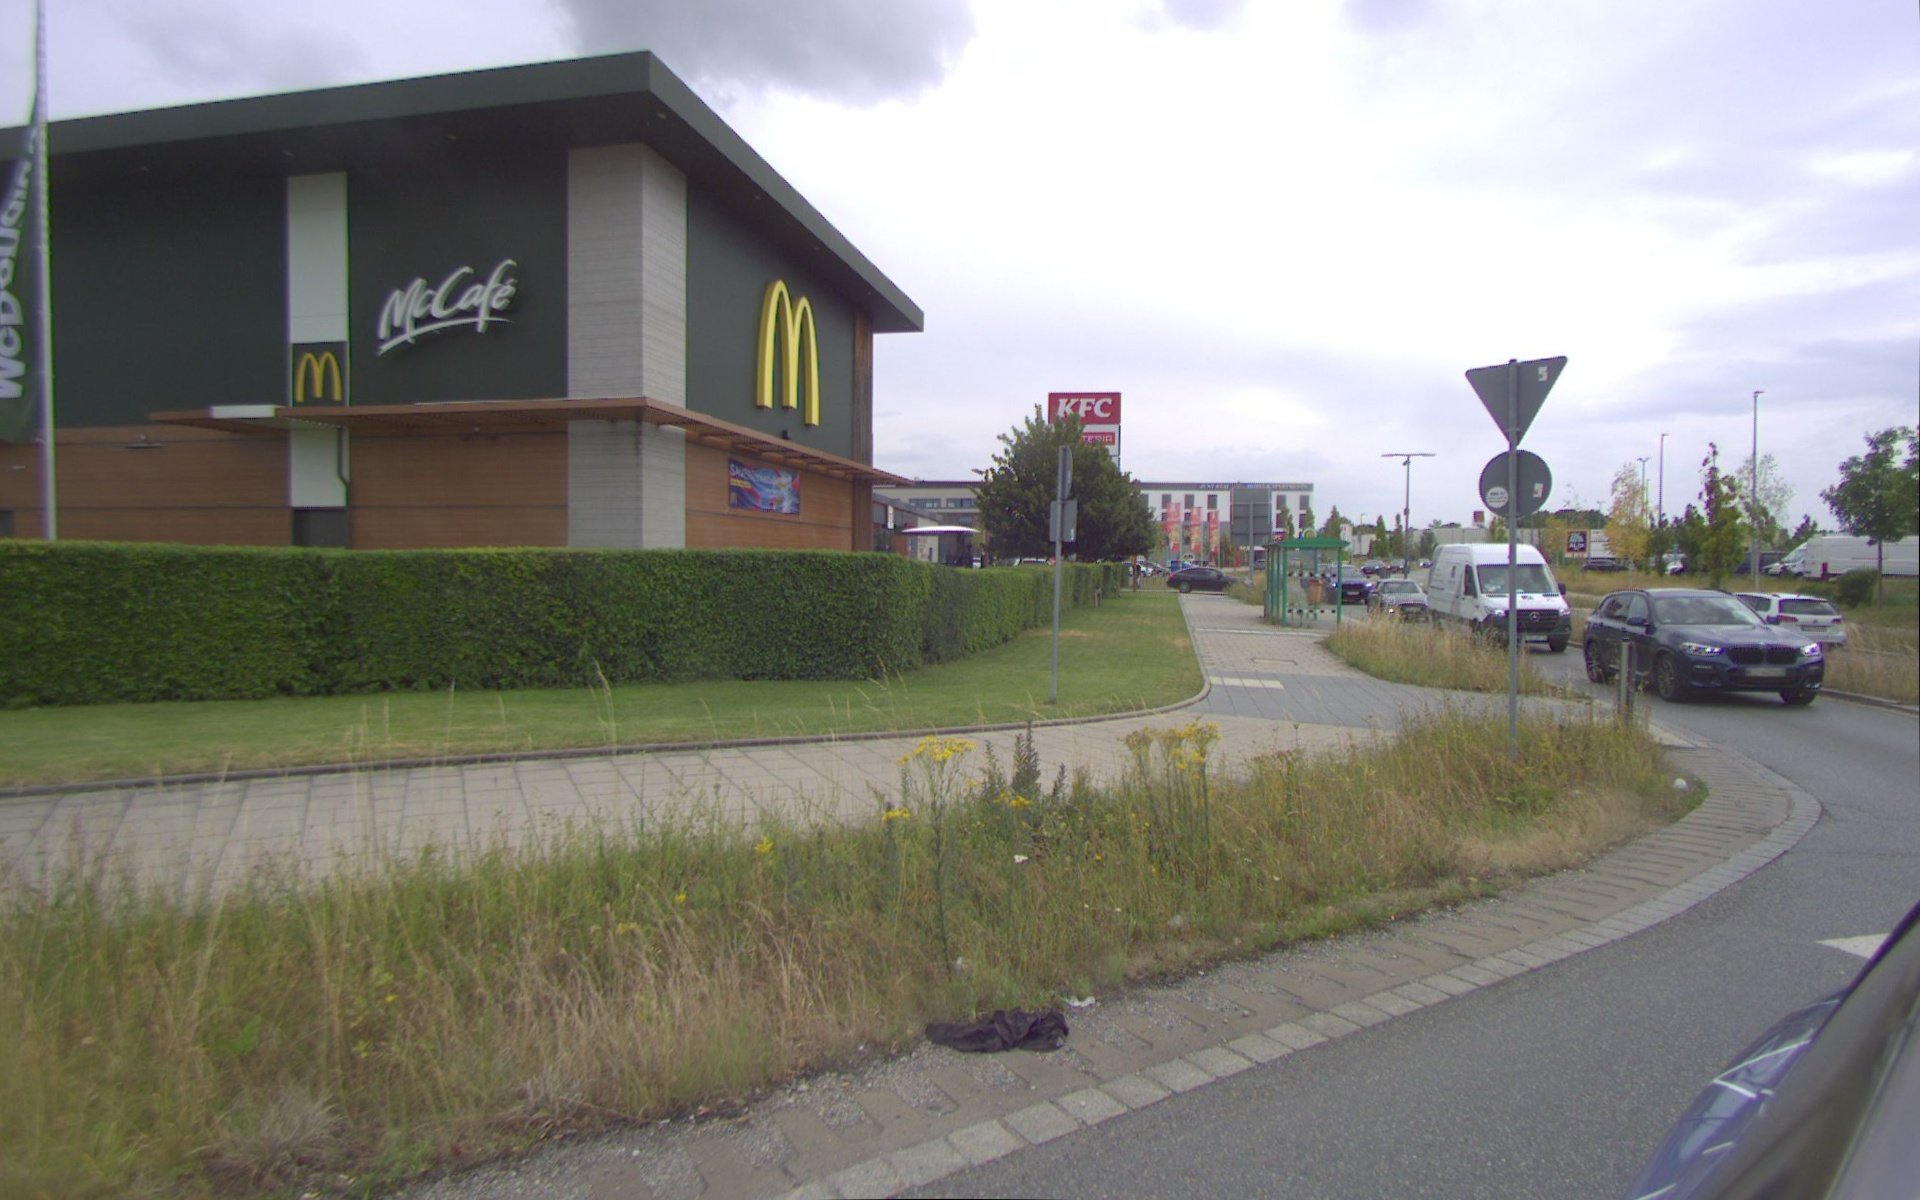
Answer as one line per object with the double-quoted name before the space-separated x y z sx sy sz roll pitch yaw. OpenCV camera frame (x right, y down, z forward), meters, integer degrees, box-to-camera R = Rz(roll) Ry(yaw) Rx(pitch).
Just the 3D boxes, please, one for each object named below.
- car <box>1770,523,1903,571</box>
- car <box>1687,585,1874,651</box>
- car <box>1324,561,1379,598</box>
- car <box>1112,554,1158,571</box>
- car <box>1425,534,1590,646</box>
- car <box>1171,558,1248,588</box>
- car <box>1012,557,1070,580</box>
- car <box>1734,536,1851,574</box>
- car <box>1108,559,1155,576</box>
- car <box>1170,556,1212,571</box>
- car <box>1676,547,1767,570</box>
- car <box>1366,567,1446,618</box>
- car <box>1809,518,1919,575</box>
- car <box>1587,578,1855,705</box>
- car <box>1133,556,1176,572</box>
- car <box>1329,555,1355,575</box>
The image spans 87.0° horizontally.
"car" 47.214 -2.831 54.630 4.981 2.401 2.058 -1 3 13
"car" 20.494 0.369 25.556 1.701 1.426 4.628 1 2 12
"car" 18.274 -1.006 47.368 1.840 1.627 3.986 1 3 13
"car" 16.753 -3.600 96.946 3.959 1.504 1.832 1 3 25
"car" 14.007 -0.376 26.374 1.996 2.558 6.087 1 3 11
"car" 13.442 -1.461 54.533 3.944 1.504 1.839 -1 3 17
"car" 5.695 -2.227 70.989 3.934 1.504 1.844 -1 3 9
"car" 50.555 -2.740 61.567 4.994 2.250 2.052 1 2 20
"car" 15.730 -2.987 92.694 3.951 1.504 1.835 1 3 21
"car" 24.892 -3.960 109.070 3.965 1.504 1.829 0 3 30
"car" 56.718 -3.116 75.459 5.000 1.676 2.050 1 3 23
"car" 15.794 -0.309 36.035 1.840 1.627 3.986 1 3 13
"car" 46.033 -2.642 49.659 6.331 2.655 2.055 -1 3 17
"car" 11.765 0.523 16.027 1.840 1.627 3.987 1 3 12
"car" 19.494 -3.626 101.437 3.959 1.504 1.832 1 3 25
"car" 33.452 -3.042 88.574 1.977 1.593 3.972 0 3 23
